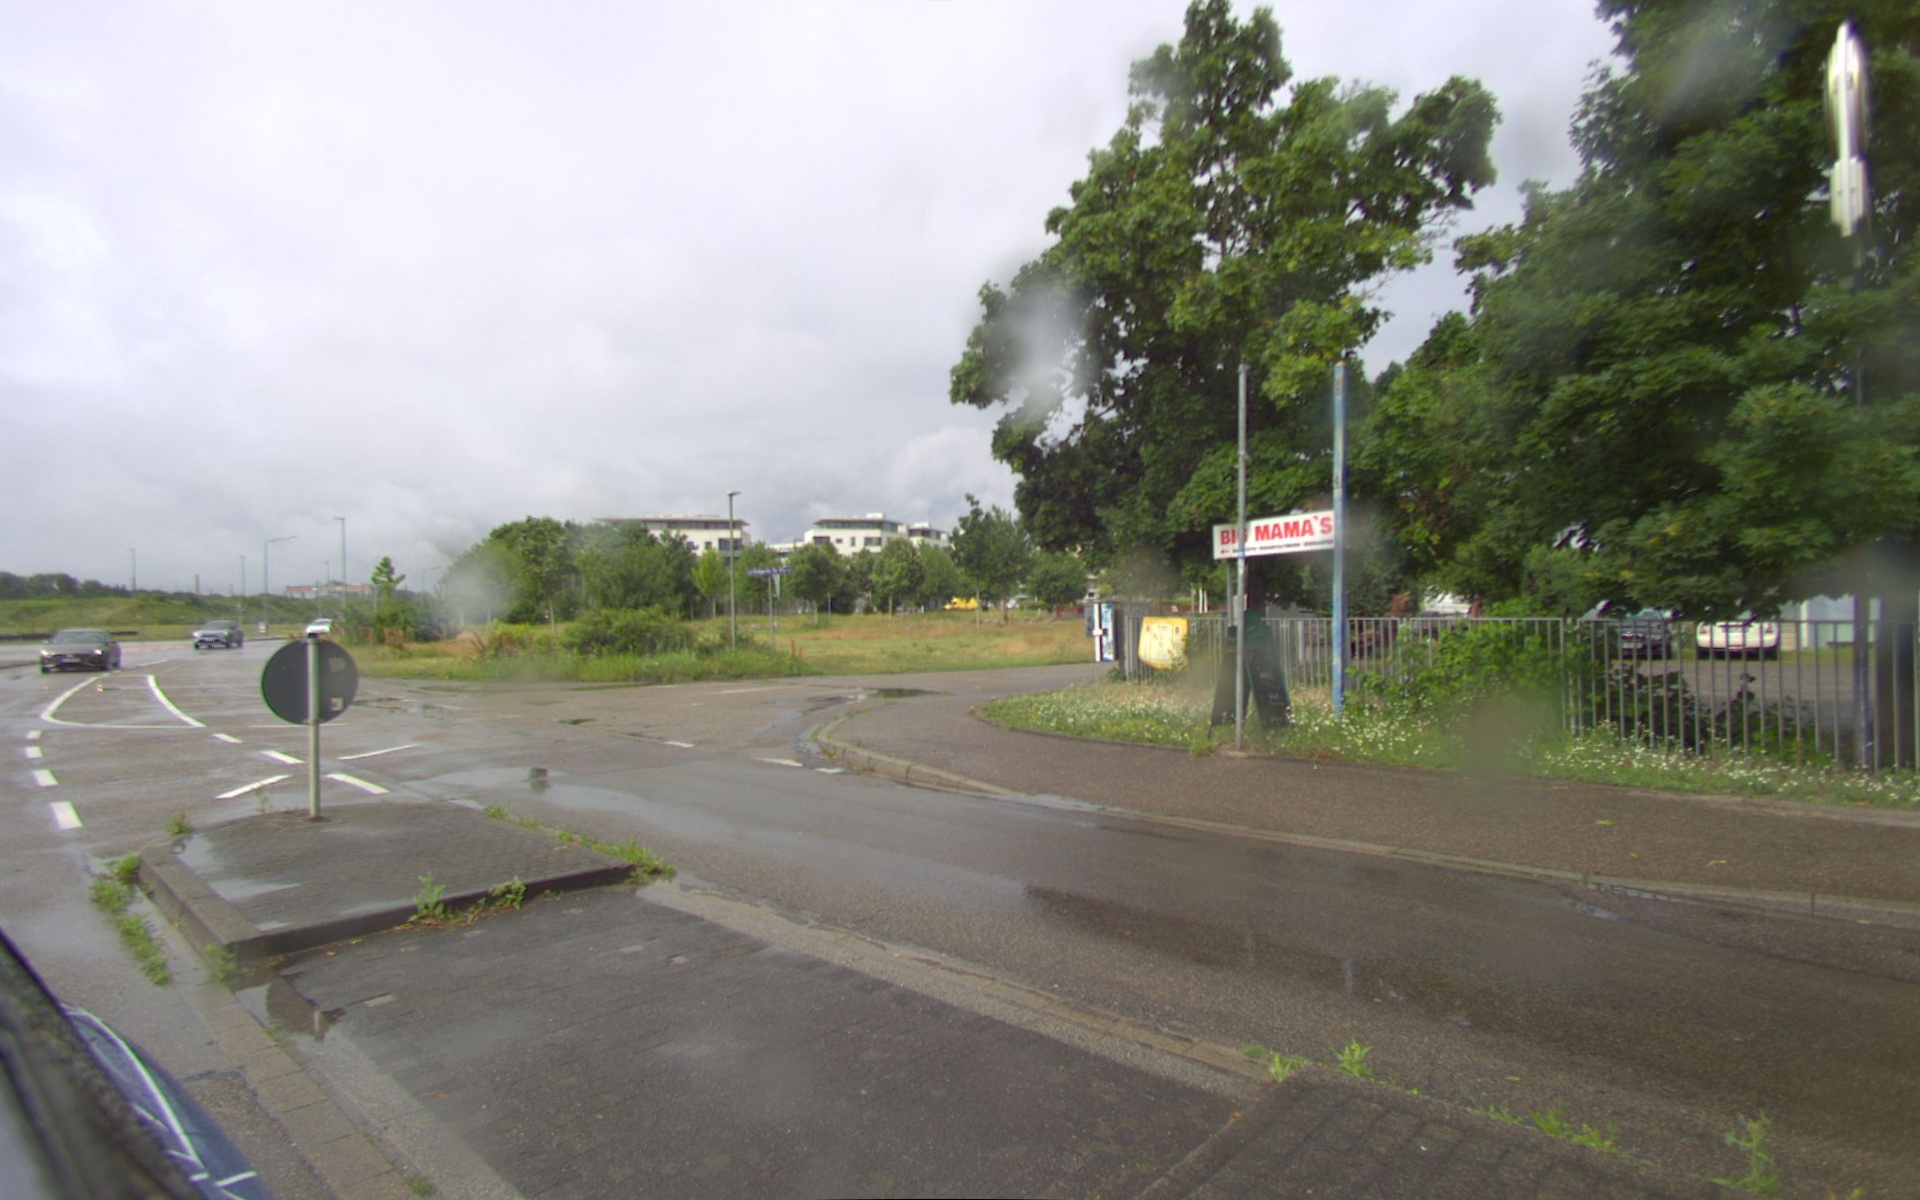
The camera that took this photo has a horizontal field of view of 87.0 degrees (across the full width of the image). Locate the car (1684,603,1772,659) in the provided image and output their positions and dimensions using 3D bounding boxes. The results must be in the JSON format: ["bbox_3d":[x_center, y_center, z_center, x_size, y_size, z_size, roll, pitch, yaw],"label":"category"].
[{"bbox_3d":[19.758,0.758,25.973,1.389,1.326,3.867,-2,-1,43],"label":"car"}]

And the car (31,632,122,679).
[{"bbox_3d":[-31.076,1.932,35.724,1.844,1.530,4.369,1,-2,-34],"label":"car"}]

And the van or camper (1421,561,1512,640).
[{"bbox_3d":[25.919,0.037,51.707,2.654,3.772,5.769,-2,-1,42],"label":"van or camper"}]

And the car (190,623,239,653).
[{"bbox_3d":[-46.309,2.325,62.918,1.977,1.718,4.342,-1,-1,-30],"label":"car"}]

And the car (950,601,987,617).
[{"bbox_3d":[1.668,1.694,191.137,6.529,2.633,1.972,-3,1,-16],"label":"car"}]

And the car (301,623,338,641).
[{"bbox_3d":[-56.124,2.787,88.764,1.811,1.530,4.371,-1,-1,-20],"label":"car"}]

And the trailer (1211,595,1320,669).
[{"bbox_3d":[9.767,0.966,32.134,1.843,2.105,4.059,-2,0,40],"label":"trailer"}]
